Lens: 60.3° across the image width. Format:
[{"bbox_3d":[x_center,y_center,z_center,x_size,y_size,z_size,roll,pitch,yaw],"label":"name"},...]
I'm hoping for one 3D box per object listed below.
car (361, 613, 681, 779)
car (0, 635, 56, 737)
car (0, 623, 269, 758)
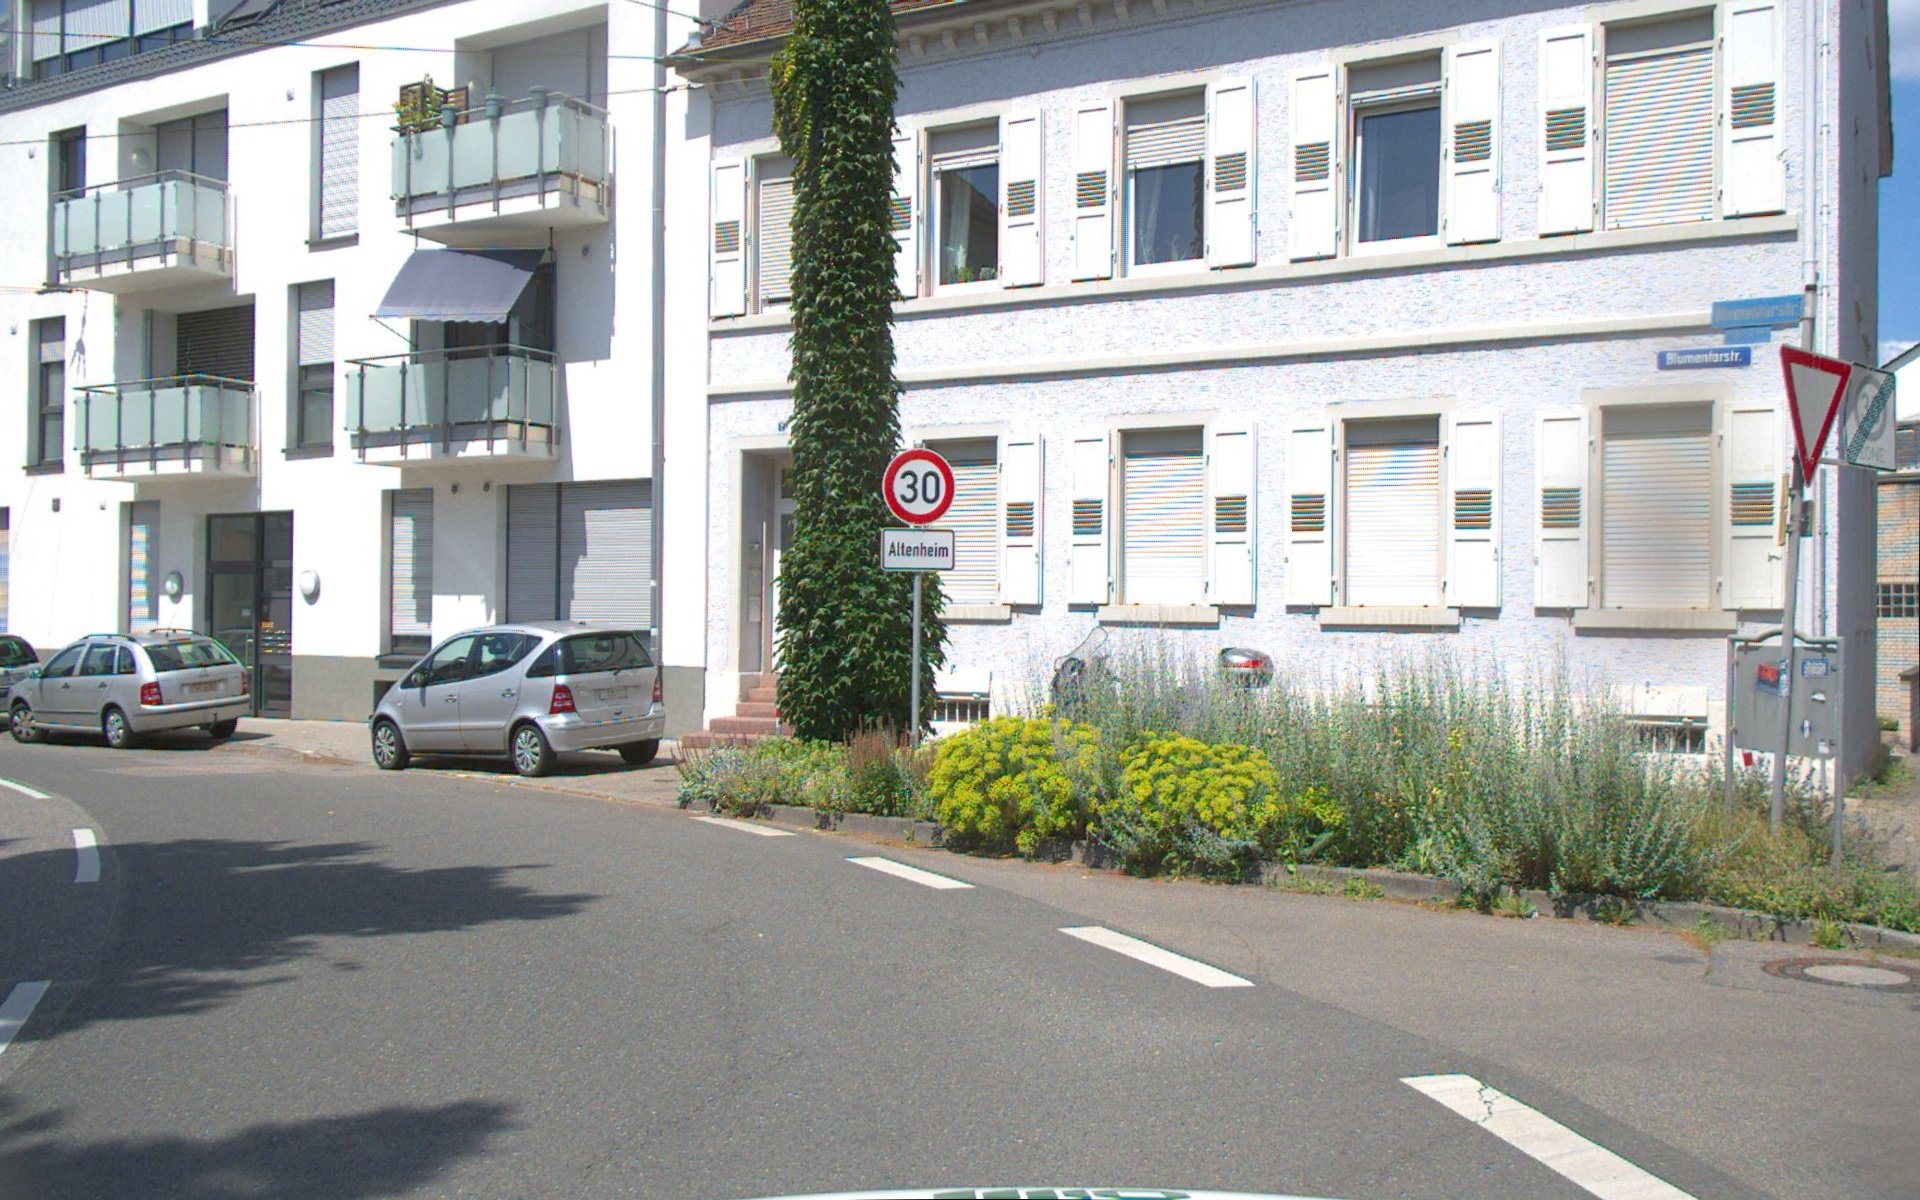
[{"bbox_3d":[-4.944,1.016,18.473,3.547,1.614,1.577,1,-2,37],"label":"car"},{"bbox_3d":[-15.366,1.264,24.886,3.425,1.381,1.421,1,4,28],"label":"car"},{"bbox_3d":[-11.332,1.162,22.581,3.828,1.491,1.657,1,4,34],"label":"car"}]
